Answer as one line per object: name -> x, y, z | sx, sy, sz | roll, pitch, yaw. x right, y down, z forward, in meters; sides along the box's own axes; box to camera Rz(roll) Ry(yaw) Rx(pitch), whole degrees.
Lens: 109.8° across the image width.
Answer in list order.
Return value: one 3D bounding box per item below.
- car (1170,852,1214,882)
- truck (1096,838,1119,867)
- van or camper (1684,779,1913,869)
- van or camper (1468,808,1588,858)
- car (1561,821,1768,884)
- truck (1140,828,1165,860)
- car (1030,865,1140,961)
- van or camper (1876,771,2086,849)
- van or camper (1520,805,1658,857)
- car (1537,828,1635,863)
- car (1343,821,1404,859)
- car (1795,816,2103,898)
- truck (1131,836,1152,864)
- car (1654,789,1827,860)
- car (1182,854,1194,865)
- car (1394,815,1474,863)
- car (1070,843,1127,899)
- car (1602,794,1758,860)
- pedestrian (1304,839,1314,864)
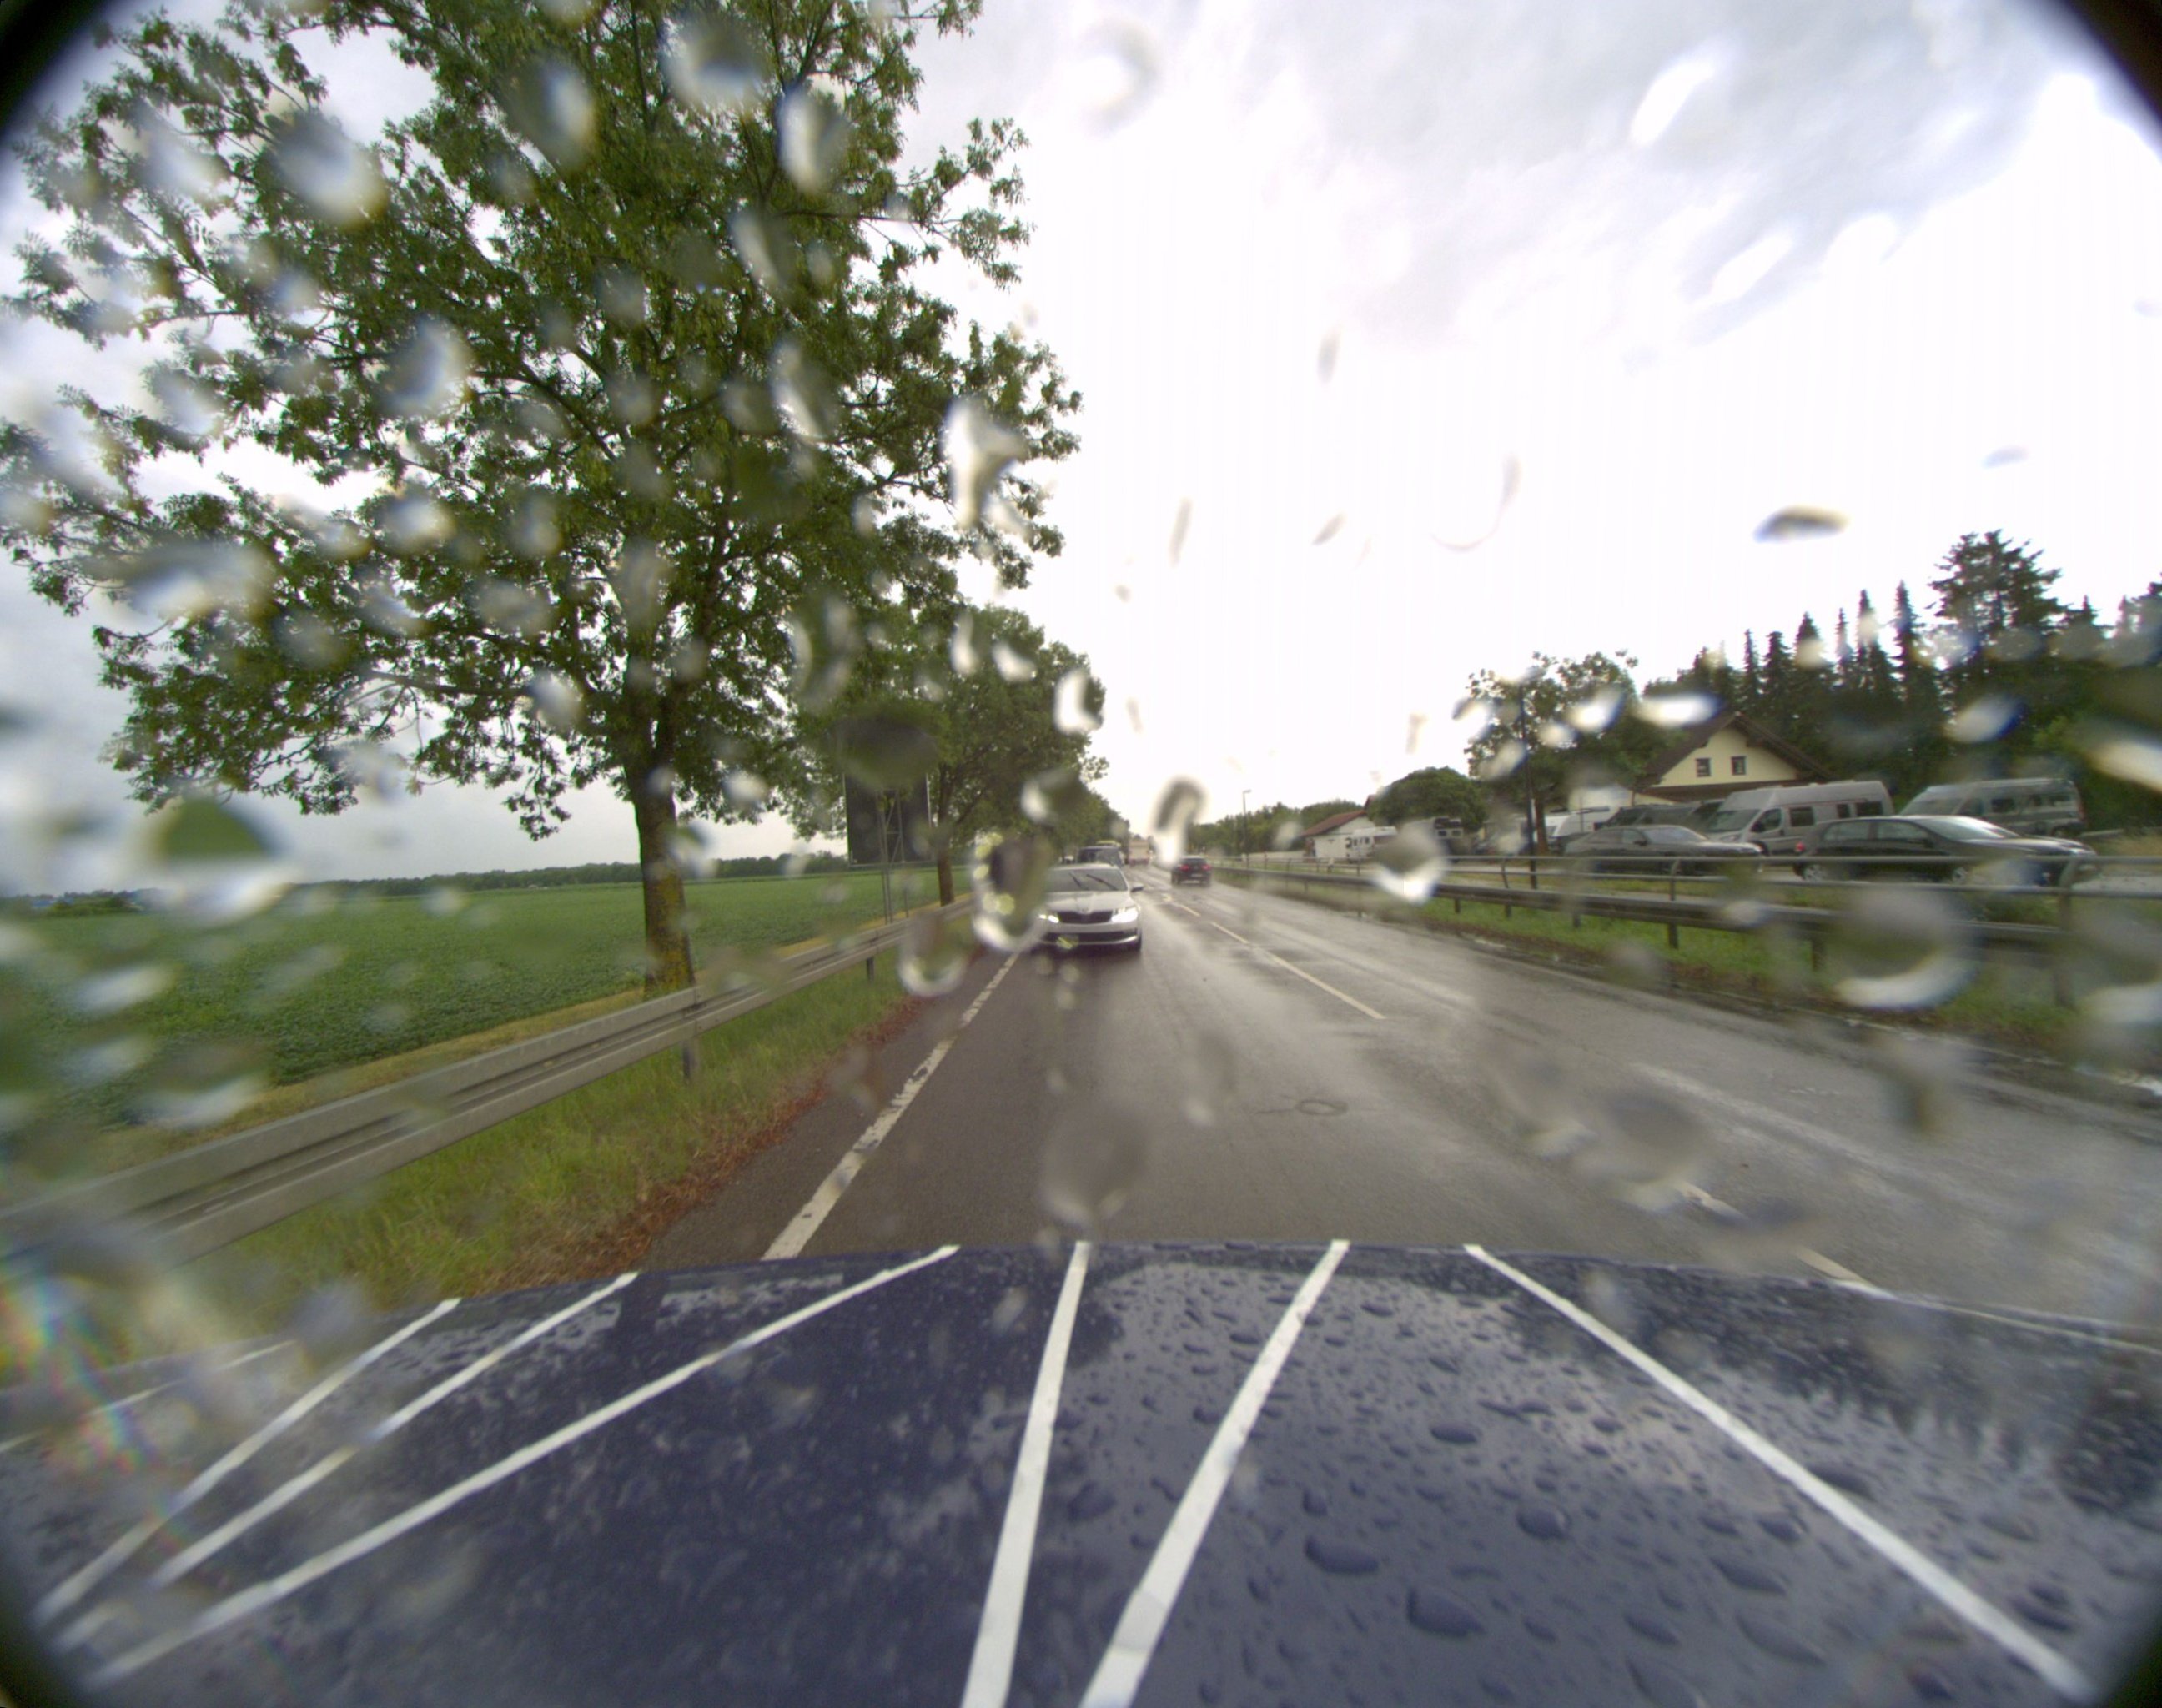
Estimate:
car -> 5.717, 0.659, 39.496 | 1.718, 1.442, 4.111 | -2, 0, 1
truck -> 3.535, -0.237, 101.408 | 2.751, 3.547, 8.387 | -3, 0, 2
van or camper -> 24.717, -0.997, 26.340 | 5.890, 2.661, 2.081 | -3, 0, 0
van or camper -> 28.392, -1.304, 48.388 | 6.068, 2.785, 2.434 | -3, 0, 0
car -> 15.749, -0.018, 20.951 | 1.519, 1.482, 5.120 | -1, 0, -3
truck -> 11.822, -1.630, 127.109 | 3.256, 5.004, 7.783 | -3, 0, 1
car -> 0.091, 0.948, 13.839 | 1.705, 1.438, 4.000 | -1, 0, 1
van or camper -> 34.588, -1.649, 29.303 | 5.820, 2.575, 2.000 | -3, 0, -2
van or camper -> 29.489, -1.318, 44.280 | 6.239, 2.576, 2.562 | -3, 0, 0
car -> 25.752, -0.420, 38.827 | 3.894, 1.487, 1.540 | -3, 0, 1
car -> 21.790, -0.993, 56.928 | 2.242, 2.565, 6.020 | -3, 0, 1
car -> 16.131, 0.059, 14.460 | 1.286, 1.323, 3.897 | -1, 0, -3
truck -> 8.011, -0.477, 100.724 | 2.582, 3.432, 9.558 | -1, 0, 4
car -> 26.136, -1.147, 30.213 | 5.105, 2.444, 2.000 | -3, 0, -1
car -> 20.938, 1.142, 148.445 | 1.683, 2.002, 4.000 | -2, 1, 1
car -> 21.960, -0.879, 47.598 | 2.389, 2.746, 5.573 | -3, 0, 1
car -> 0.627, 0.594, 27.985 | 1.903, 1.884, 4.000 | -1, 0, 1
car -> 26.137, -1.143, 33.278 | 5.196, 2.486, 2.000 | -3, 0, -1
pedestrian -> 15.733, -0.169, 52.487 | 0.516, 1.700, 0.650 | -3, 0, 9
